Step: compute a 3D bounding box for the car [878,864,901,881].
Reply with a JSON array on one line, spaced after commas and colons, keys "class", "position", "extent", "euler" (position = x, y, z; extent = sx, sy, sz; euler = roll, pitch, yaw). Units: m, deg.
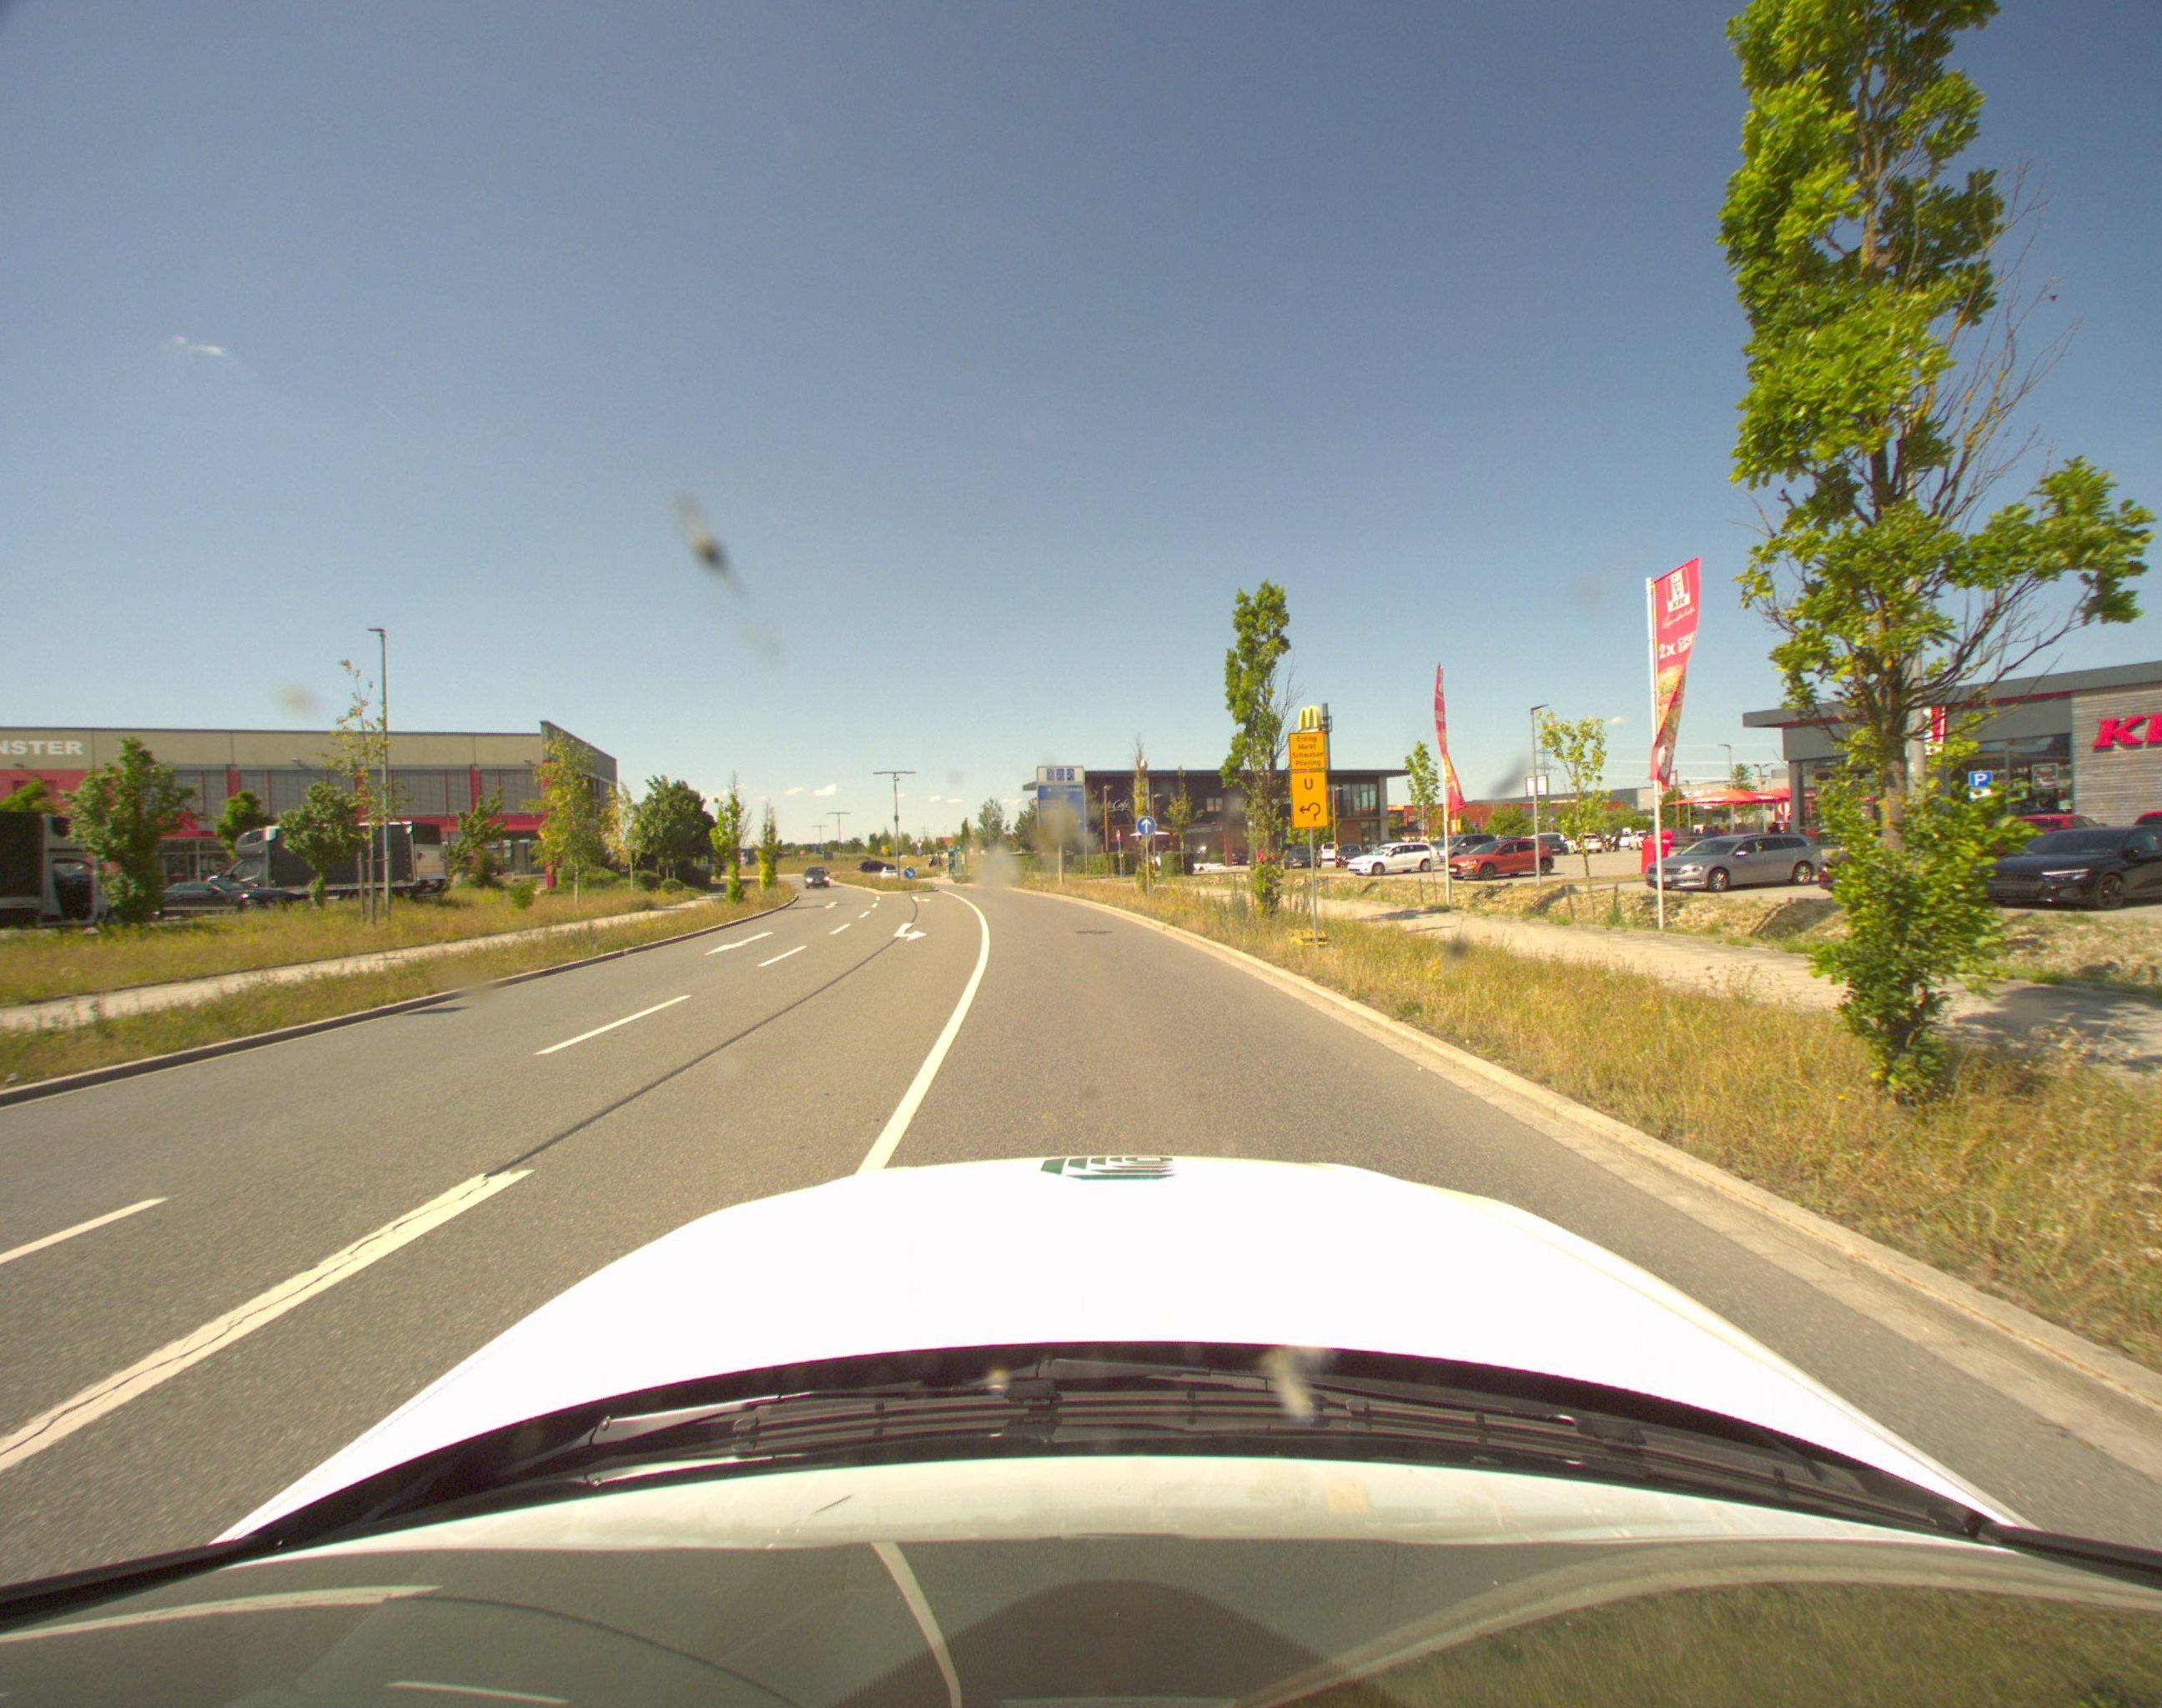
[{"class": "car", "position": [-18.204, 1.748, 77.210], "extent": [1.622, 1.434, 3.766], "euler": [-2, 0, -20]}]

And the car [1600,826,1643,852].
[{"class": "car", "position": [39.368, -1.117, 59.413], "extent": [1.770, 1.757, 4.192], "euler": [-3, 0, 23]}]

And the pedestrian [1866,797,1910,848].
[{"class": "pedestrian", "position": [32.567, -1.259, 32.880], "extent": [0.915, 2.013, 0.886], "euler": [-2, 0, -17]}]

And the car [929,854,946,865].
[{"class": "car", "position": [-19.322, 0.764, 109.654], "extent": [1.612, 1.434, 3.790], "euler": [-2, 0, -1]}]

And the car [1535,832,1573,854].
[{"class": "car", "position": [33.454, -0.771, 57.729], "extent": [1.770, 1.451, 4.192], "euler": [-3, 0, 23]}]

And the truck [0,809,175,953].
[{"class": "truck", "position": [-27.366, 0.697, 19.347], "extent": [2.300, 3.464, 7.522], "euler": [-2, 0, 14]}]

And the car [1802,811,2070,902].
[{"class": "car", "position": [18.509, 0.037, 17.744], "extent": [4.148, 1.665, 1.865], "euler": [-3, 0, -6]}]

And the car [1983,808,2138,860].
[{"class": "car", "position": [32.082, -0.662, 26.667], "extent": [4.572, 1.431, 1.856], "euler": [-3, 0, -21]}]

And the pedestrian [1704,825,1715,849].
[{"class": "pedestrian", "position": [33.399, -0.917, 43.277], "extent": [0.381, 1.240, 0.290], "euler": [-2, -1, -22]}]

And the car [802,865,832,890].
[{"class": "car", "position": [-21.602, 1.872, 66.477], "extent": [1.959, 1.794, 4.394], "euler": [-4, 1, -22]}]

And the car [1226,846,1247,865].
[{"class": "car", "position": [14.076, 0.127, 73.879], "extent": [1.781, 1.604, 4.012], "euler": [-3, 0, 11]}]

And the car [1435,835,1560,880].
[{"class": "car", "position": [16.456, 0.124, 32.242], "extent": [4.209, 1.490, 1.860], "euler": [-3, 0, -14]}]

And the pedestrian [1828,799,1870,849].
[{"class": "pedestrian", "position": [32.086, -1.241, 34.041], "extent": [0.915, 2.013, 0.886], "euler": [-2, 0, -17]}]

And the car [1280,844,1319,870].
[{"class": "car", "position": [13.451, 0.172, 49.962], "extent": [1.682, 1.462, 4.192], "euler": [-3, 0, 23]}]

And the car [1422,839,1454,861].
[{"class": "car", "position": [23.603, -0.274, 53.938], "extent": [1.770, 1.297, 4.192], "euler": [-3, 0, 23]}]

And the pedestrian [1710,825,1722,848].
[{"class": "pedestrian", "position": [33.522, -0.922, 42.999], "extent": [0.381, 1.240, 0.290], "euler": [-2, -1, -22]}]

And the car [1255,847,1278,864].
[{"class": "car", "position": [17.007, 0.115, 74.787], "extent": [1.781, 1.434, 4.012], "euler": [-3, 0, 11]}]

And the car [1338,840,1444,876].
[{"class": "car", "position": [15.069, 0.176, 39.606], "extent": [4.531, 1.490, 1.860], "euler": [-3, 0, -14]}]

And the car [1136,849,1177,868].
[{"class": "car", "position": [6.220, 0.398, 67.823], "extent": [1.799, 1.434, 3.972], "euler": [-3, 0, -20]}]

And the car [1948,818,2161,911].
[{"class": "car", "position": [18.989, 0.141, 15.312], "extent": [4.157, 1.449, 1.784], "euler": [-3, 0, -12]}]

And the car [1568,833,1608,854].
[{"class": "car", "position": [36.587, -0.765, 58.886], "extent": [1.770, 1.451, 4.192], "euler": [-3, 0, 23]}]

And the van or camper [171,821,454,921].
[{"class": "van or camper", "position": [-29.904, 0.588, 32.083], "extent": [7.706, 3.468, 2.543], "euler": [-2, 0, -15]}]

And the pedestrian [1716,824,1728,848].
[{"class": "pedestrian", "position": [34.198, -0.943, 43.429], "extent": [0.381, 1.240, 0.290], "euler": [-2, -1, -22]}]

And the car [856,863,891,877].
[{"class": "car", "position": [-25.026, 1.893, 98.093], "extent": [3.805, 1.517, 1.758], "euler": [-2, 0, -25]}]

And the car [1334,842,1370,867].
[{"class": "car", "position": [17.083, 0.001, 51.286], "extent": [1.770, 1.462, 4.192], "euler": [-3, 0, 23]}]

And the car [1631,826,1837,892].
[{"class": "car", "position": [17.963, 0.118, 22.488], "extent": [4.555, 1.490, 1.863], "euler": [-3, 0, -10]}]

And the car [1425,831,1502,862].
[{"class": "car", "position": [22.840, -0.432, 48.661], "extent": [4.171, 1.635, 1.778], "euler": [-3, 0, -22]}]

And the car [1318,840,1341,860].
[{"class": "car", "position": [23.671, -0.404, 77.456], "extent": [1.777, 1.702, 4.021], "euler": [-3, 0, 21]}]

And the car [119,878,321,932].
[{"class": "car", "position": [-29.339, 1.692, 27.932], "extent": [4.376, 1.552, 1.828], "euler": [-2, 0, -16]}]

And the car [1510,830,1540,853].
[{"class": "car", "position": [37.653, -1.050, 69.169], "extent": [1.770, 1.757, 4.192], "euler": [-3, 0, 23]}]

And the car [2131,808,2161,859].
[{"class": "car", "position": [33.098, -0.691, 23.699], "extent": [4.572, 1.431, 1.856], "euler": [-3, 0, -21]}]

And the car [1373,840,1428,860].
[{"class": "car", "position": [25.683, -0.334, 65.469], "extent": [3.950, 1.373, 1.809], "euler": [-3, 0, 26]}]
